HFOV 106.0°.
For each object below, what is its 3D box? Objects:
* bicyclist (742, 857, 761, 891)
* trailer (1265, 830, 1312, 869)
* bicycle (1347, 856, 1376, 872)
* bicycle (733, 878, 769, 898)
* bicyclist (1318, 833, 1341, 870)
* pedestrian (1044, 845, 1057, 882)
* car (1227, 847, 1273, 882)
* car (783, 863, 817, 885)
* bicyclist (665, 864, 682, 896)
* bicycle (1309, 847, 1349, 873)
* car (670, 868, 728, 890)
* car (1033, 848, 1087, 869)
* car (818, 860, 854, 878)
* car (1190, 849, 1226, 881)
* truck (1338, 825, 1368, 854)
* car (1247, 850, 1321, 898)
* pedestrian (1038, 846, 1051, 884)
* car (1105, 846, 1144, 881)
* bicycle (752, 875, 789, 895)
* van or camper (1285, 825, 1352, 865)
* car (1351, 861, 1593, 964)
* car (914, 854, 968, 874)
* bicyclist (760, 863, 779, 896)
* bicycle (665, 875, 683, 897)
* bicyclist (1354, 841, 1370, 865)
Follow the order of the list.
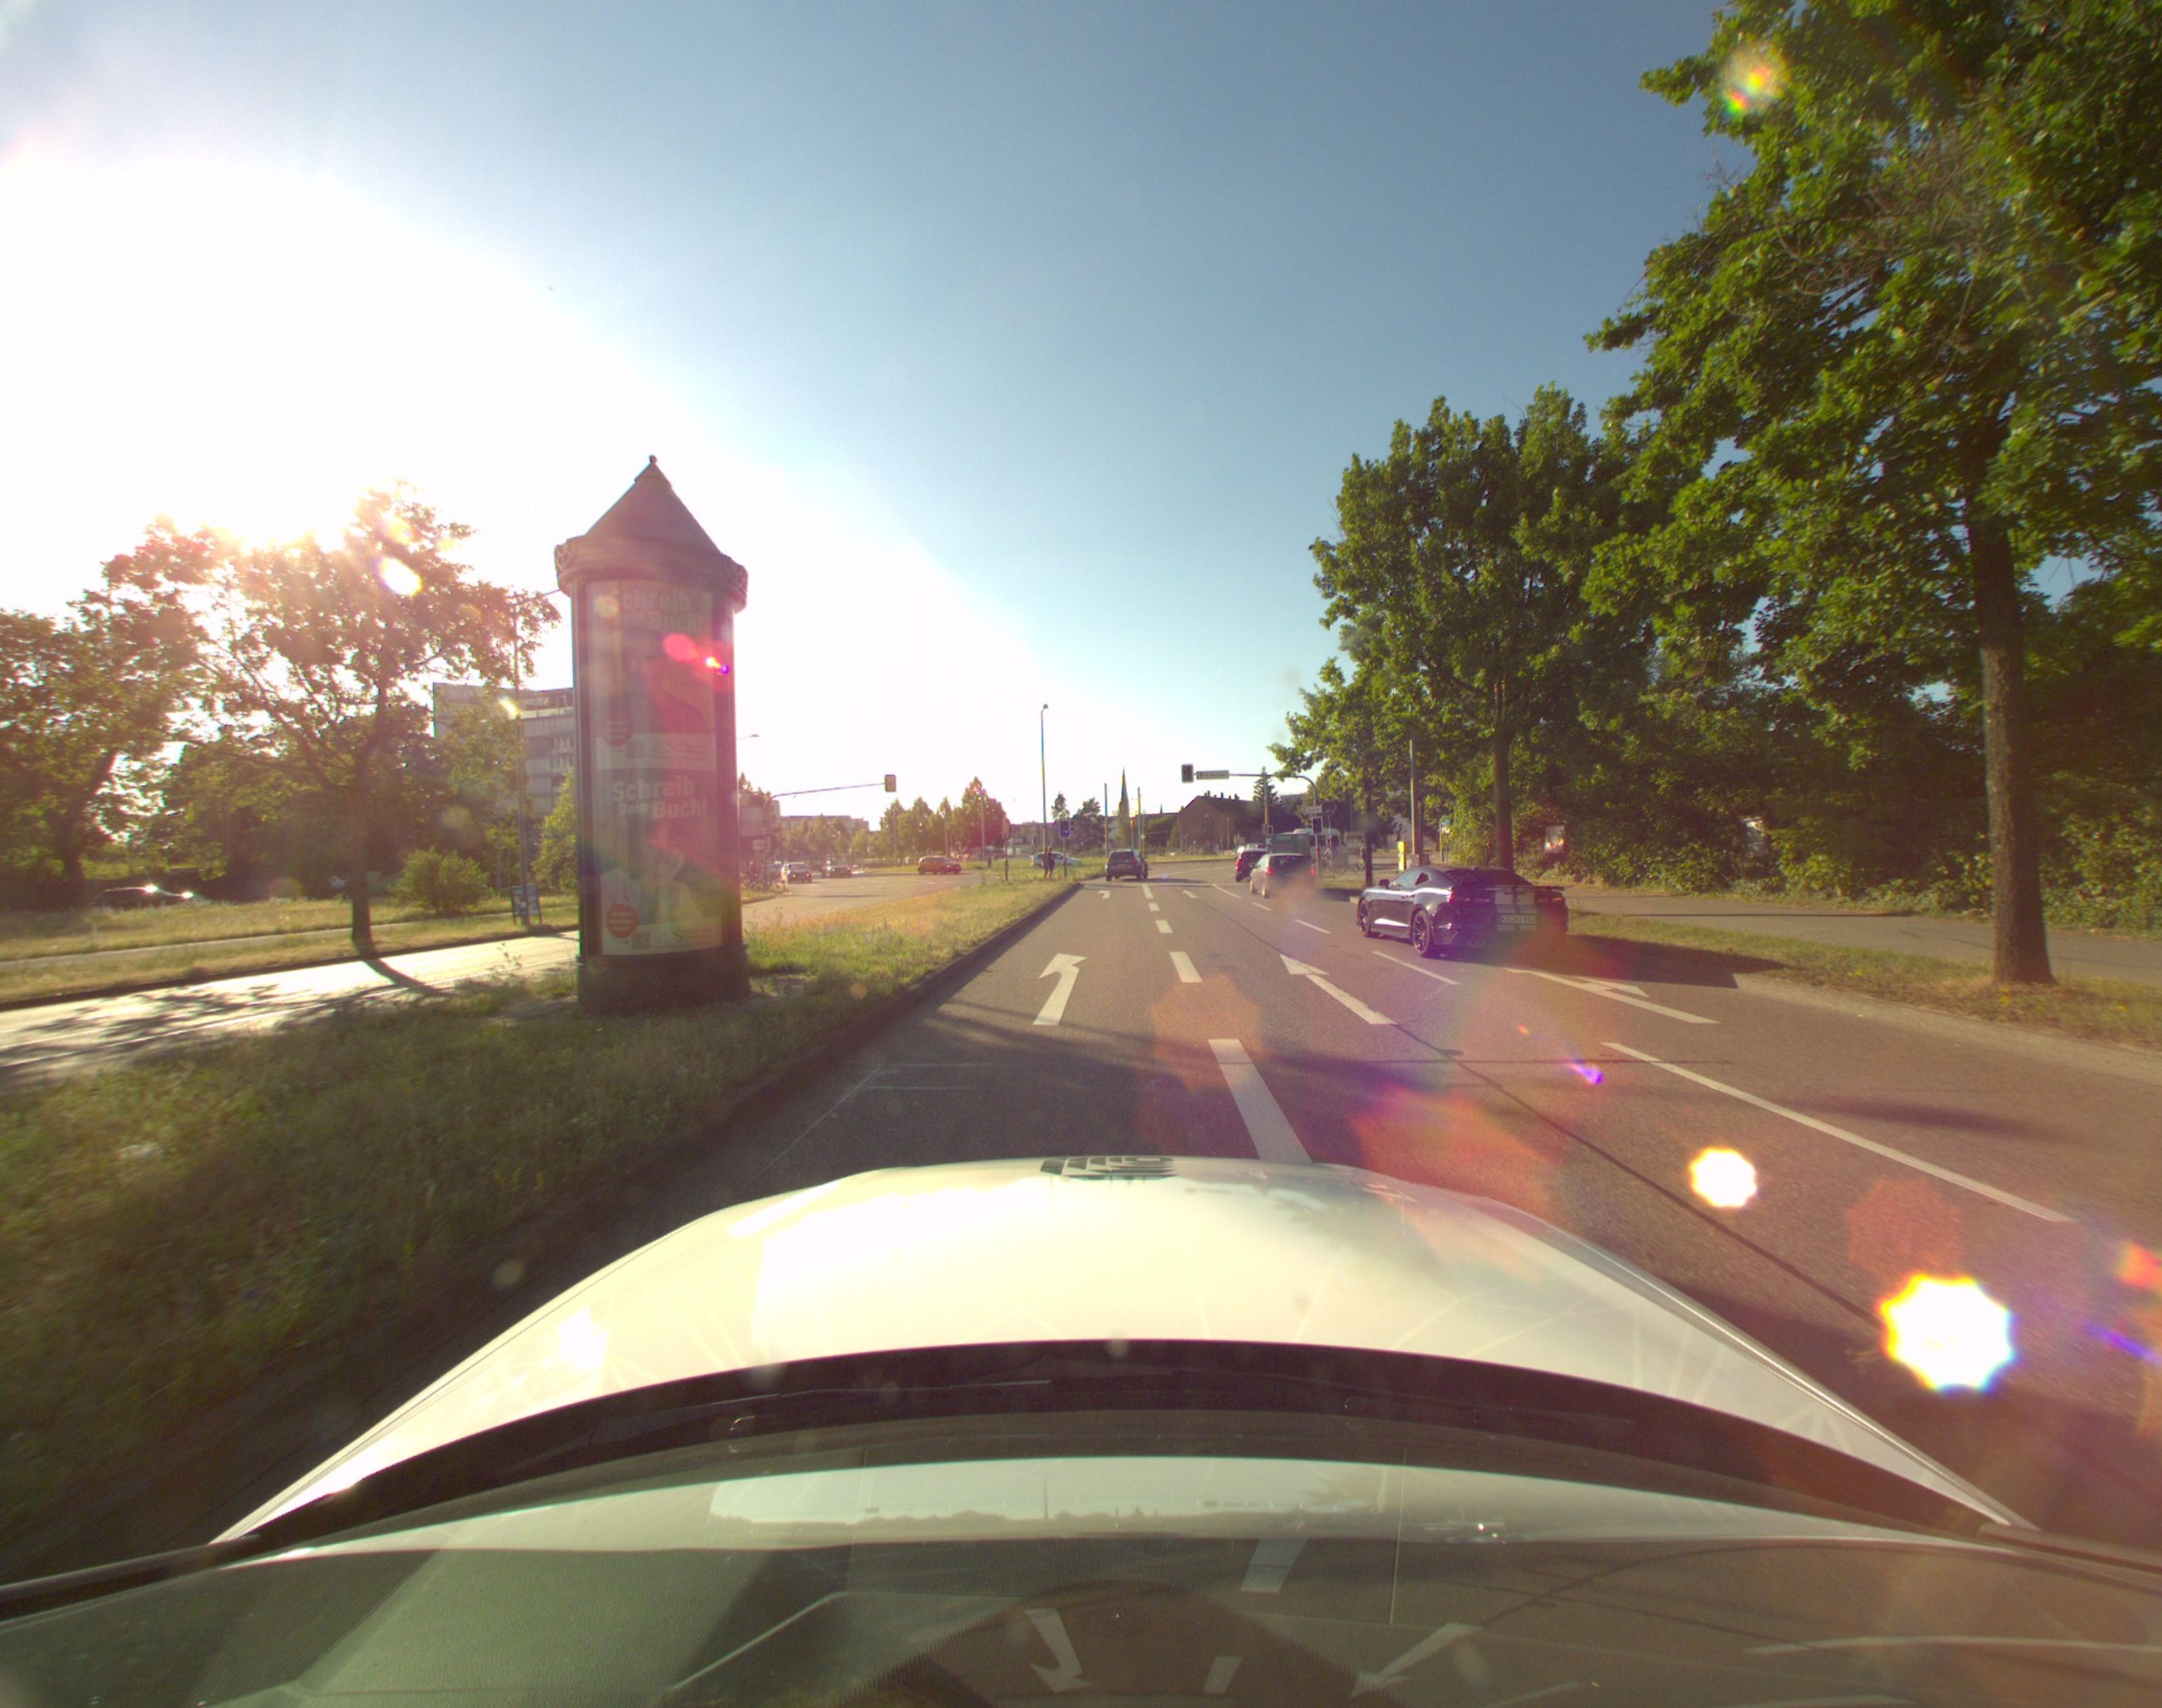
[{"bbox_3d":[-17.485,1.063,43.201,0.806,1.770,0.498,-1,0,18],"label":"bicyclist"},{"bbox_3d":[13.389,-0.282,52.457,2.070,2.400,3.522,-1,0,29],"label":"trailer"},{"bbox_3d":[15.468,0.533,44.878,1.462,0.786,0.437,-3,0,-15],"label":"bicycle"},{"bbox_3d":[-17.510,1.805,43.207,1.893,1.019,0.507,-1,0,18],"label":"bicycle"},{"bbox_3d":[13.328,-0.124,43.672,0.927,1.899,0.605,-4,-1,39],"label":"bicyclist"},{"bbox_3d":[-1.522,0.487,41.189,0.483,1.844,0.673,-2,0,6],"label":"pedestrian"},{"bbox_3d":[8.315,0.461,40.281,1.739,1.621,3.824,0,1,4],"label":"car"},{"bbox_3d":[-20.741,1.444,60.032,1.677,1.441,3.581,-4,1,-29],"label":"car"},{"bbox_3d":[-22.141,1.409,44.236,0.711,1.666,0.825,-2,0,-23],"label":"bicyclist"},{"bbox_3d":[13.291,0.329,43.720,1.885,1.244,0.613,-4,-1,39],"label":"bicycle"},{"bbox_3d":[-29.603,1.928,63.211,3.982,1.508,1.833,-3,0,-25],"label":"car"},{"bbox_3d":[-1.581,0.314,61.764,3.722,1.434,1.842,-2,0,12],"label":"car"},{"bbox_3d":[-20.386,1.277,67.679,1.679,1.376,4.106,-4,1,-33],"label":"car"},{"bbox_3d":[7.011,0.562,45.275,1.595,1.610,4.004,-2,0,4],"label":"car"},{"bbox_3d":[26.154,-1.425,78.541,2.560,2.558,6.281,-2,0,18],"label":"truck"},{"bbox_3d":[6.921,0.642,28.101,1.740,1.473,3.823,-2,0,3],"label":"car"},{"bbox_3d":[-1.796,0.542,40.226,0.483,1.844,0.721,-2,0,6],"label":"pedestrian"},{"bbox_3d":[2.286,0.483,43.017,1.898,1.660,4.003,-2,0,3],"label":"car"},{"bbox_3d":[-17.011,1.696,44.600,1.896,1.019,0.506,-1,0,10],"label":"bicycle"},{"bbox_3d":[16.811,-0.662,57.420,2.262,2.629,6.625,-1,1,37],"label":"van or camper"},{"bbox_3d":[5.936,0.793,13.089,1.847,1.338,4.627,0,0,2],"label":"car"},{"bbox_3d":[-11.253,0.845,65.395,4.085,1.444,1.922,-2,0,37],"label":"car"},{"bbox_3d":[-17.009,1.386,44.516,0.808,1.789,0.498,-1,0,11],"label":"bicyclist"},{"bbox_3d":[-22.171,1.745,44.351,0.726,1.118,1.809,-2,0,-23],"label":"bicycle"},{"bbox_3d":[15.515,-0.071,44.907,0.650,1.294,0.464,-3,1,-15],"label":"bicyclist"}]
